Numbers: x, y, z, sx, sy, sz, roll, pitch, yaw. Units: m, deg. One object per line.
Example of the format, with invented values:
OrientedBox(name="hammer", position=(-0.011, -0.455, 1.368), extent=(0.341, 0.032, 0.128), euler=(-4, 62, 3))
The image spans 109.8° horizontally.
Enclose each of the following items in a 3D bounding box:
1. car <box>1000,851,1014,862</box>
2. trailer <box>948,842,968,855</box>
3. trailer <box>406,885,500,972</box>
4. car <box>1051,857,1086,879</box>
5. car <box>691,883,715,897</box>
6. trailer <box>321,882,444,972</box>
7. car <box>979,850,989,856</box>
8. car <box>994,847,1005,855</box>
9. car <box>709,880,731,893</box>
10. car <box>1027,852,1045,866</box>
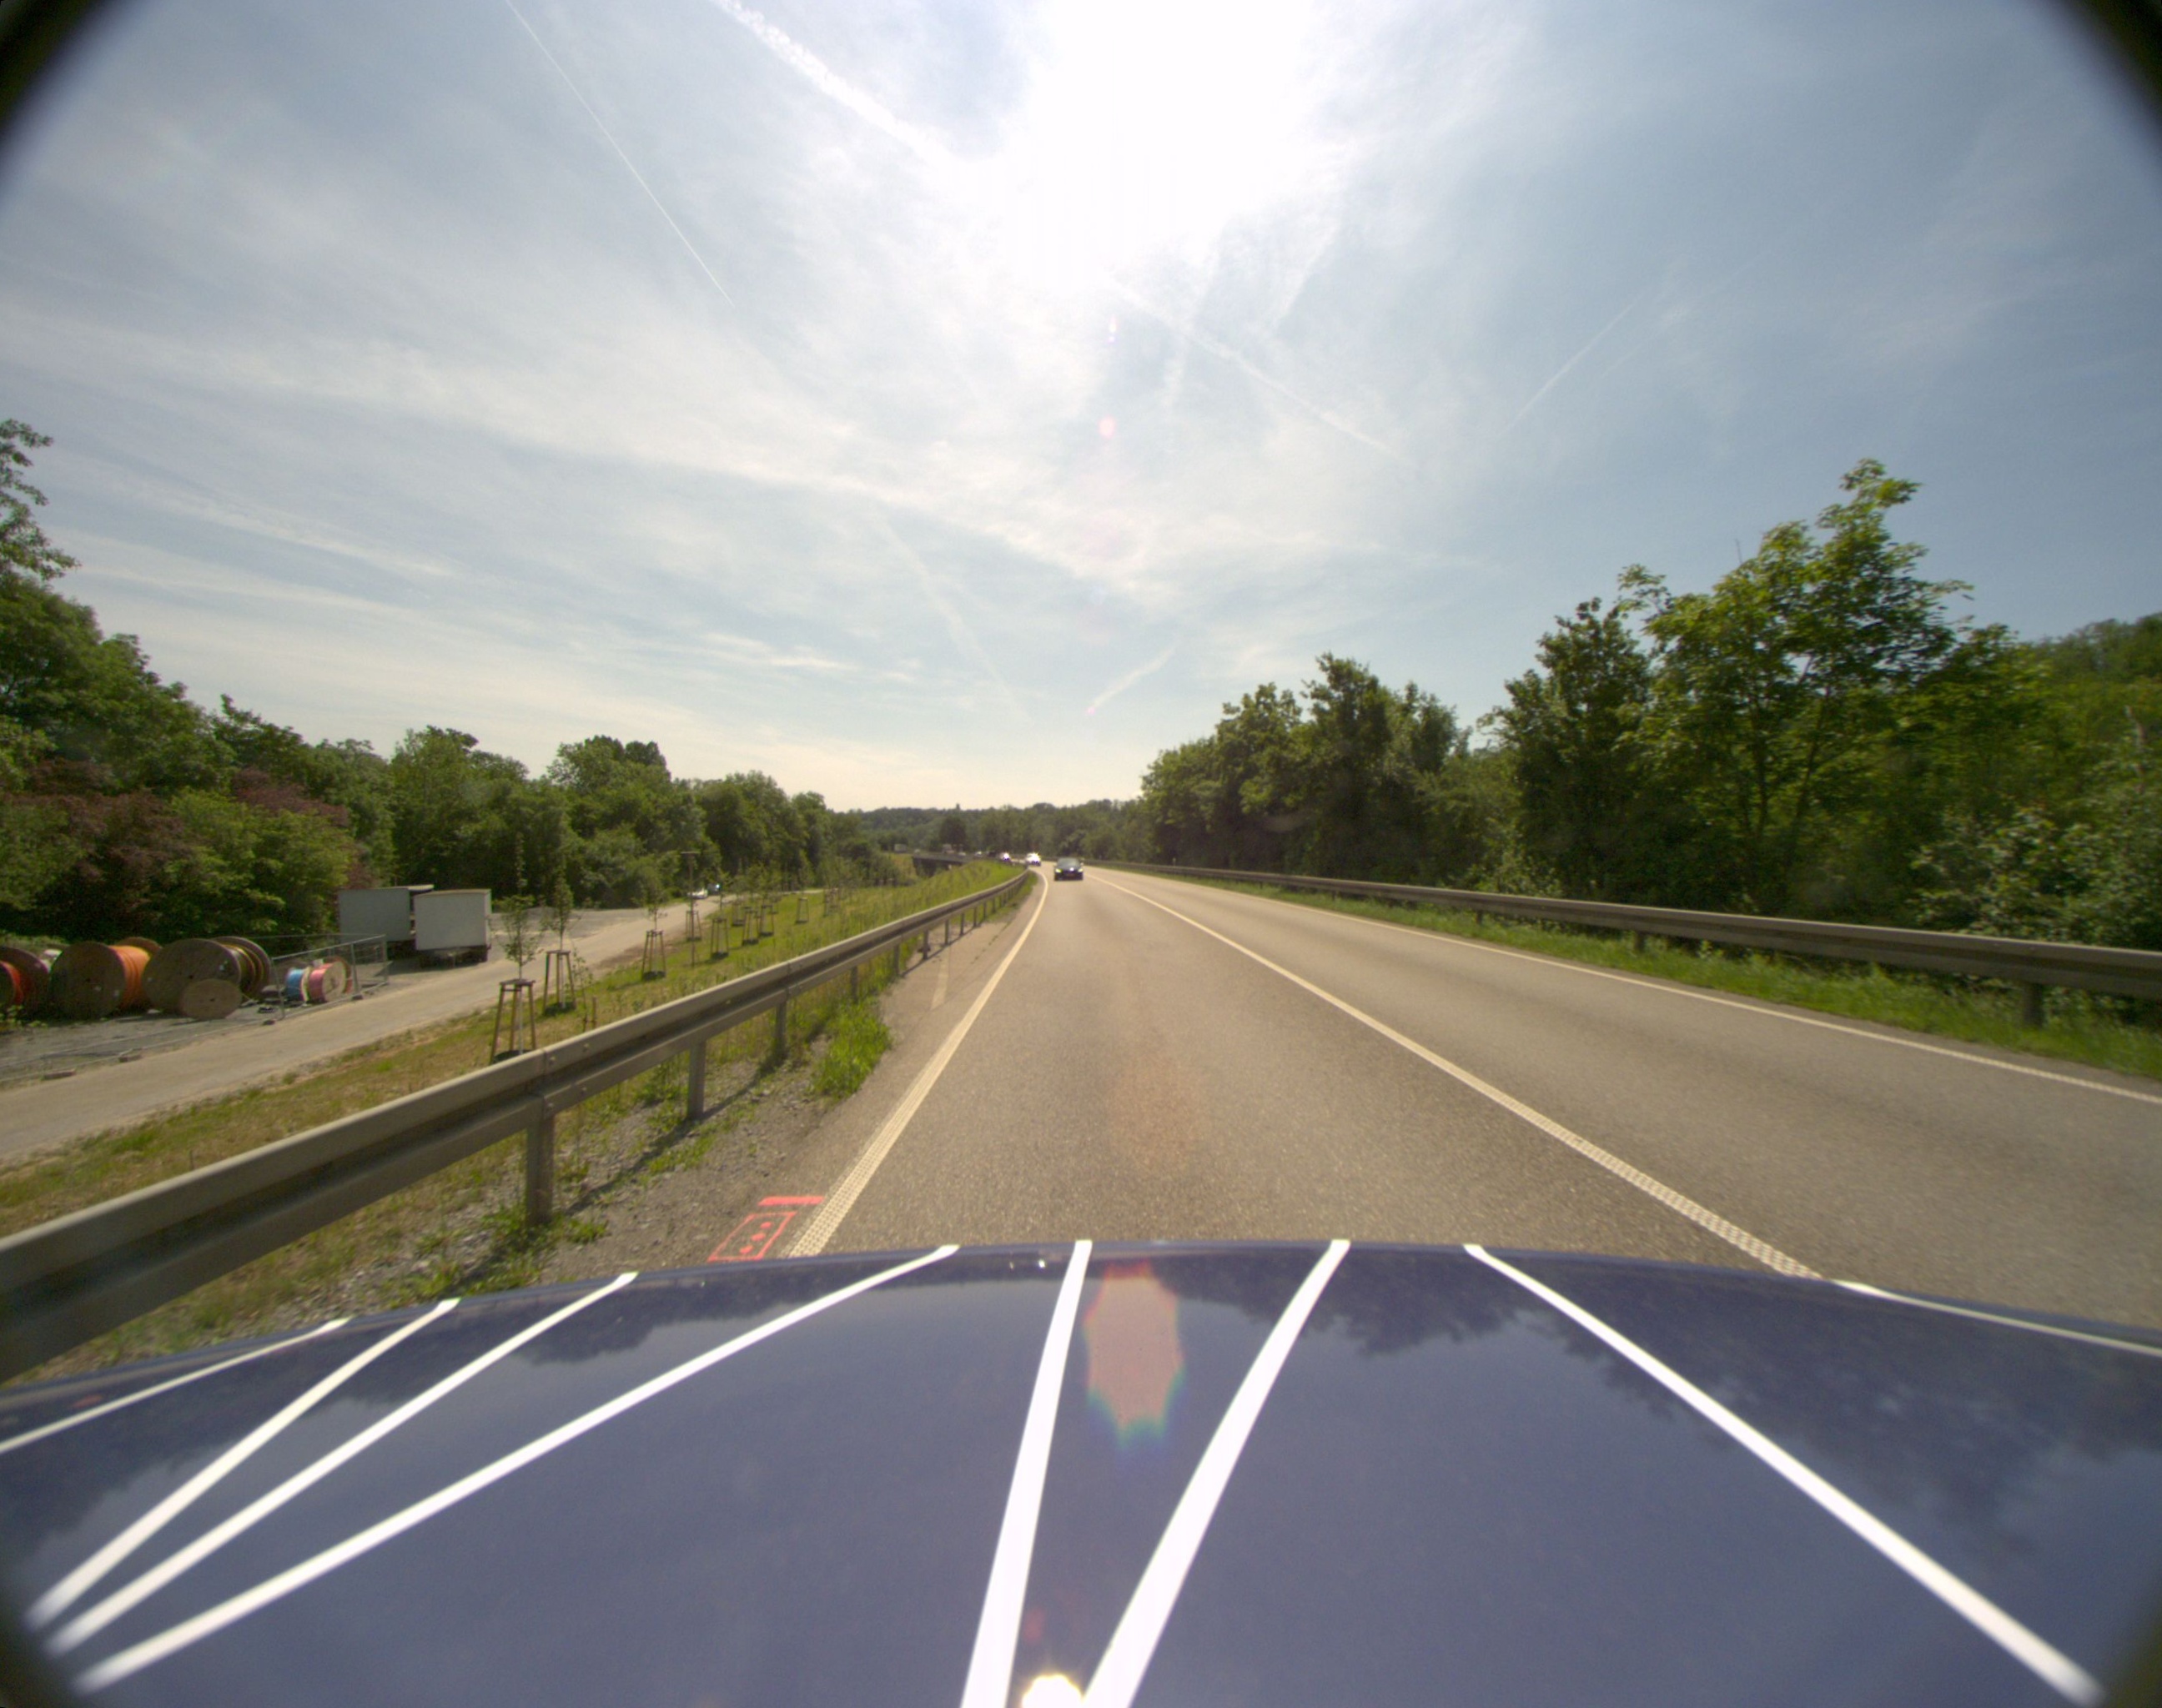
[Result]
OrientedBox(name="car", position=(-13.798, 0.461, 141.292), extent=(1.982, 1.723, 3.994), euler=(-2, 2, -13))
OrientedBox(name="trailer", position=(-37.899, -1.637, 234.353), extent=(3.131, 3.957, 15.328), euler=(-1, 1, -20))
OrientedBox(name="trailer", position=(-30.958, 3.403, 37.891), extent=(2.732, 3.308, 11.864), euler=(-2, 1, -36))
OrientedBox(name="car", position=(-0.854, 0.882, 49.873), extent=(1.981, 1.333, 3.998), euler=(-1, 0, -5))
OrientedBox(name="car", position=(-48.144, 4.609, 96.916), extent=(1.865, 1.474, 4.601), euler=(3, -1, -16))
OrientedBox(name="trailer", position=(-35.568, 3.426, 39.182), extent=(2.732, 3.586, 11.865), euler=(-3, 1, -34))
OrientedBox(name="car", position=(-25.856, -0.275, 202.740), extent=(1.775, 1.485, 4.162), euler=(-2, 1, -21))
OrientedBox(name="car", position=(-19.973, -0.751, 185.976), extent=(1.929, 1.849, 5.167), euler=(-2, 1, -17))
OrientedBox(name="car", position=(-51.190, 4.555, 107.777), extent=(1.865, 1.672, 4.195), euler=(2, -1, -14))
OrientedBox(name="car", position=(-5.971, 0.698, 100.442), extent=(1.981, 1.779, 3.997), euler=(-1, 0, -7))
